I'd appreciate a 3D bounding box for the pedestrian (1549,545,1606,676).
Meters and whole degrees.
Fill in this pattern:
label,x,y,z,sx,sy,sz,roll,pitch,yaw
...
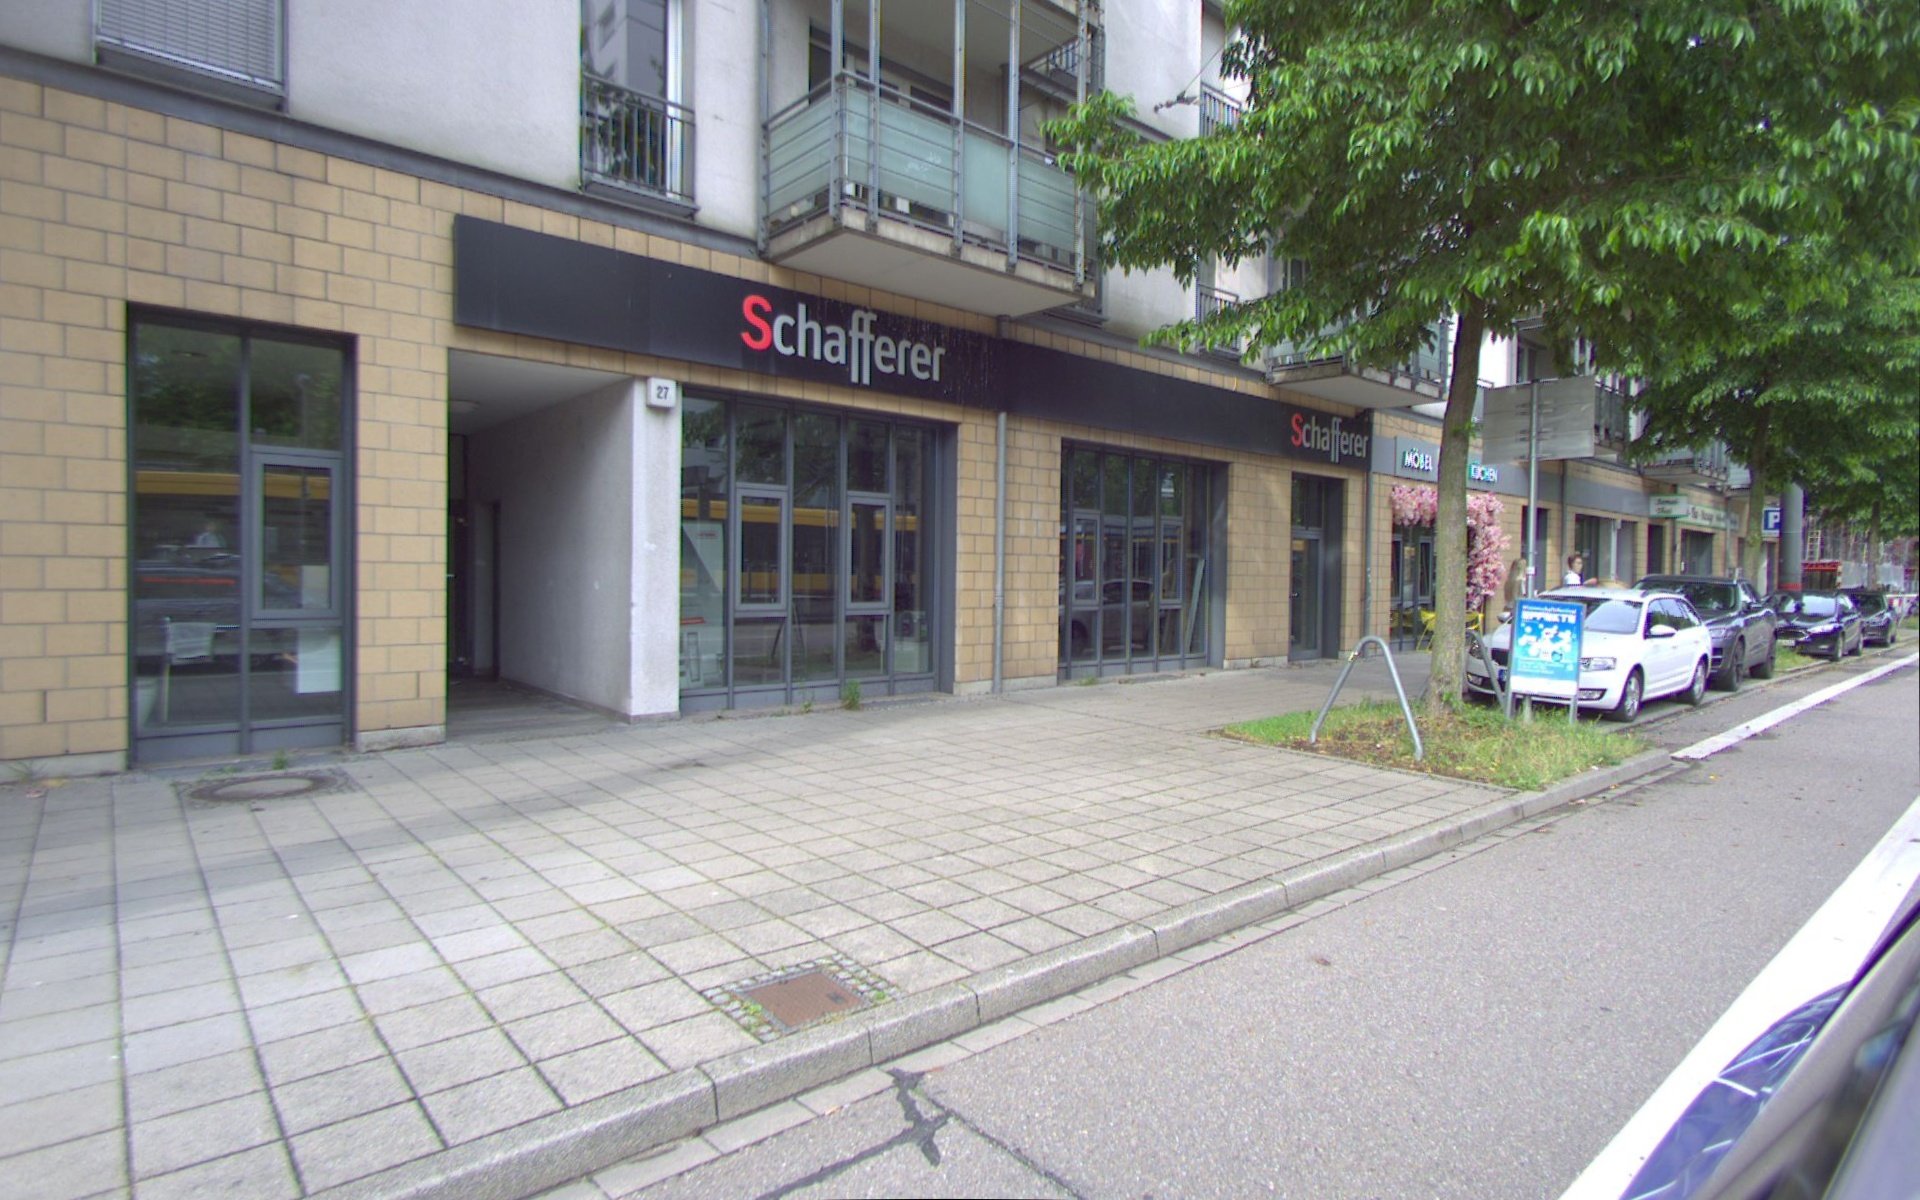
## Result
label,x,y,z,sx,sy,sz,roll,pitch,yaw
pedestrian,9.276,0.146,15.208,0.597,1.907,0.646,1,1,43

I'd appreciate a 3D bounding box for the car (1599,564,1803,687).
label,x,y,z,sx,sy,sz,roll,pitch,yaw
car,11.796,0.320,16.037,3.732,1.630,1.738,-1,5,-41

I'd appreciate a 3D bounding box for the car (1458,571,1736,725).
label,x,y,z,sx,sy,sz,roll,pitch,yaw
car,8.124,0.475,12.764,4.233,1.539,1.738,-1,5,-41

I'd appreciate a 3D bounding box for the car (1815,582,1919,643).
label,x,y,z,sx,sy,sz,roll,pitch,yaw
car,24.157,0.290,26.880,3.603,1.417,1.612,-1,5,-41

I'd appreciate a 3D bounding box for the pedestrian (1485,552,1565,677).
label,x,y,z,sx,sy,sz,roll,pitch,yaw
pedestrian,8.096,0.190,14.522,0.724,1.738,0.618,1,2,0

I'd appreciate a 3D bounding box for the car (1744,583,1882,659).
label,x,y,z,sx,sy,sz,roll,pitch,yaw
car,18.636,0.389,22.053,4.095,1.394,1.612,-1,5,-41
